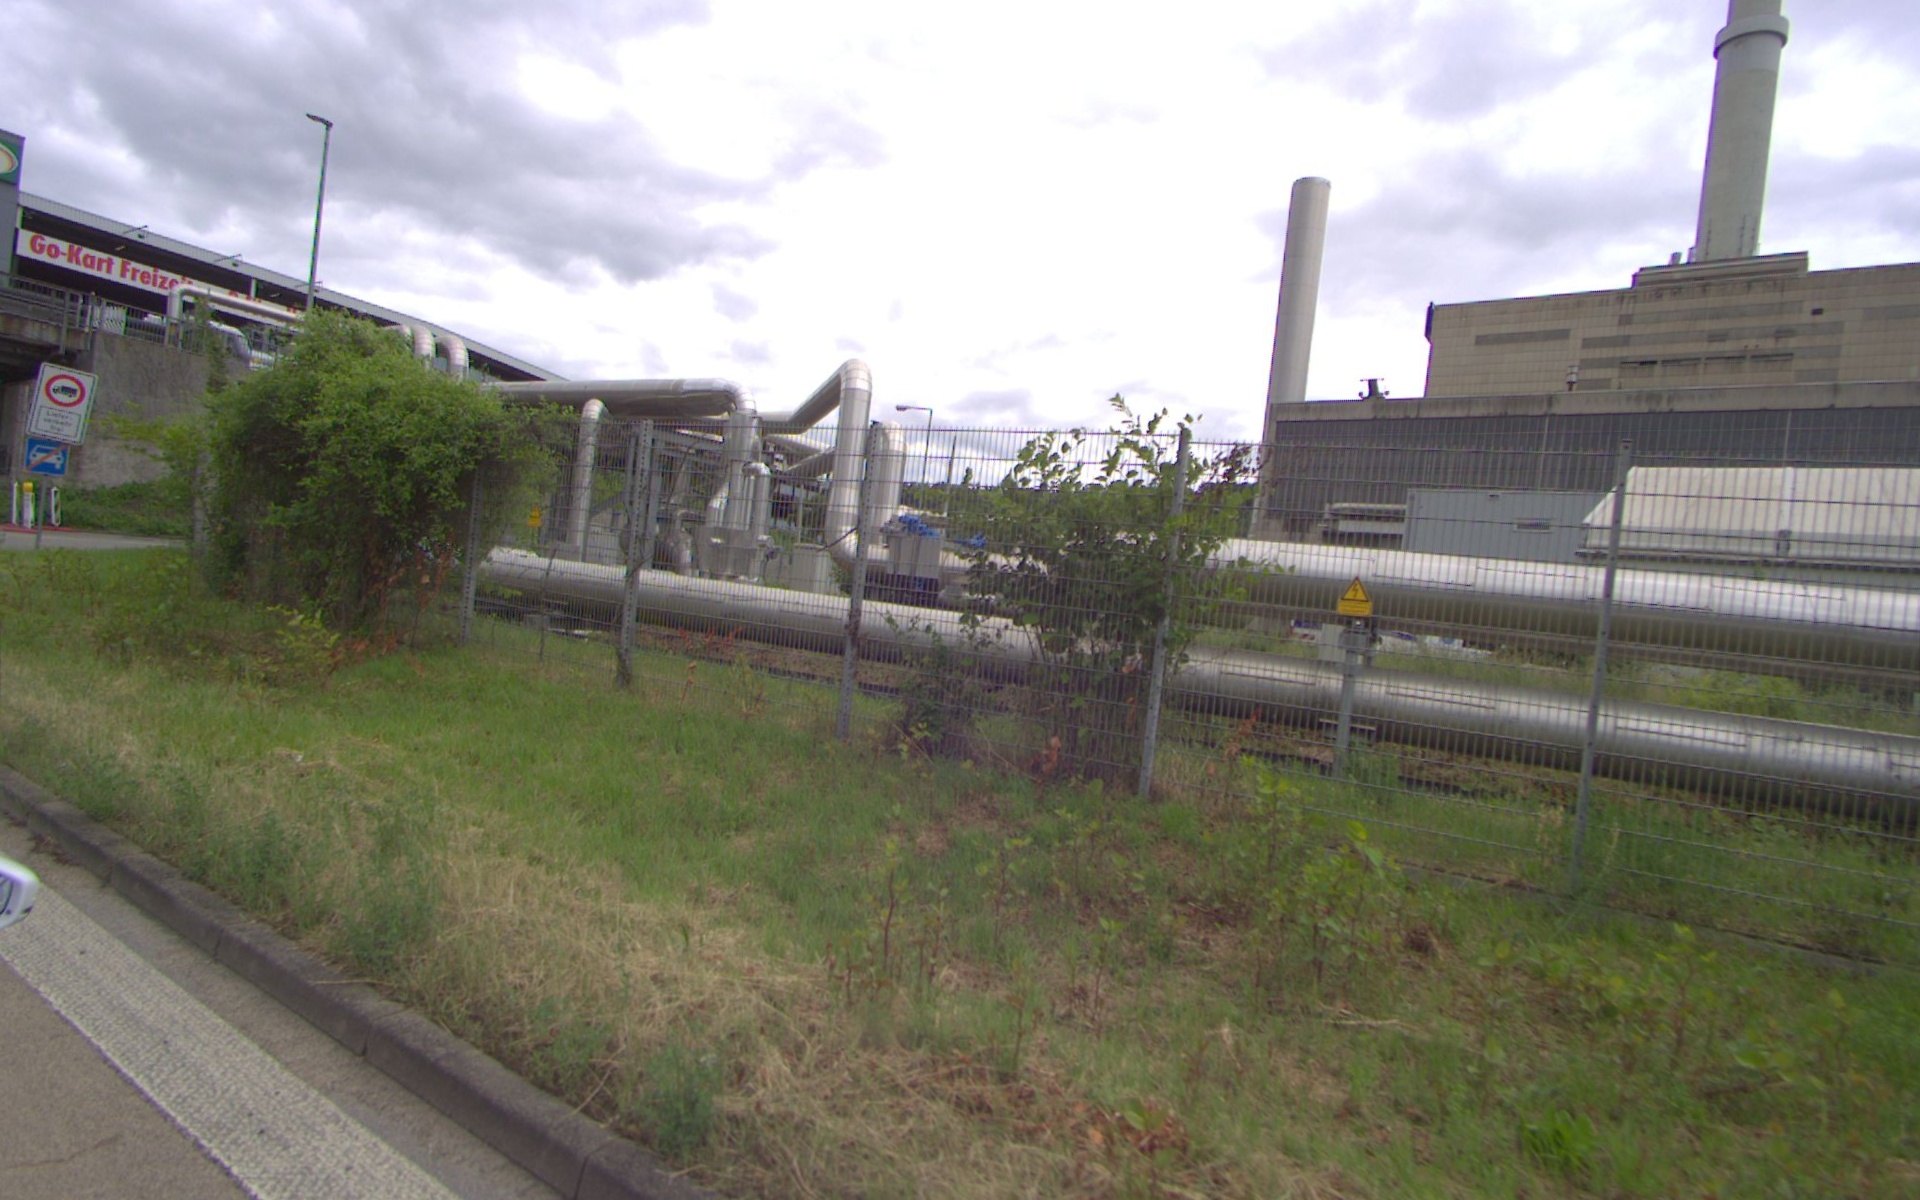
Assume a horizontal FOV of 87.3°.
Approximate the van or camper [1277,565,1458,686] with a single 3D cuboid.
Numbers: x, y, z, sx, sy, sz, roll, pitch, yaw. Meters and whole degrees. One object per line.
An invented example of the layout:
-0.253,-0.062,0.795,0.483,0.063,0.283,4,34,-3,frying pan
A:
10.891,0.771,26.547,2.538,2.580,6.101,7,0,39,van or camper
